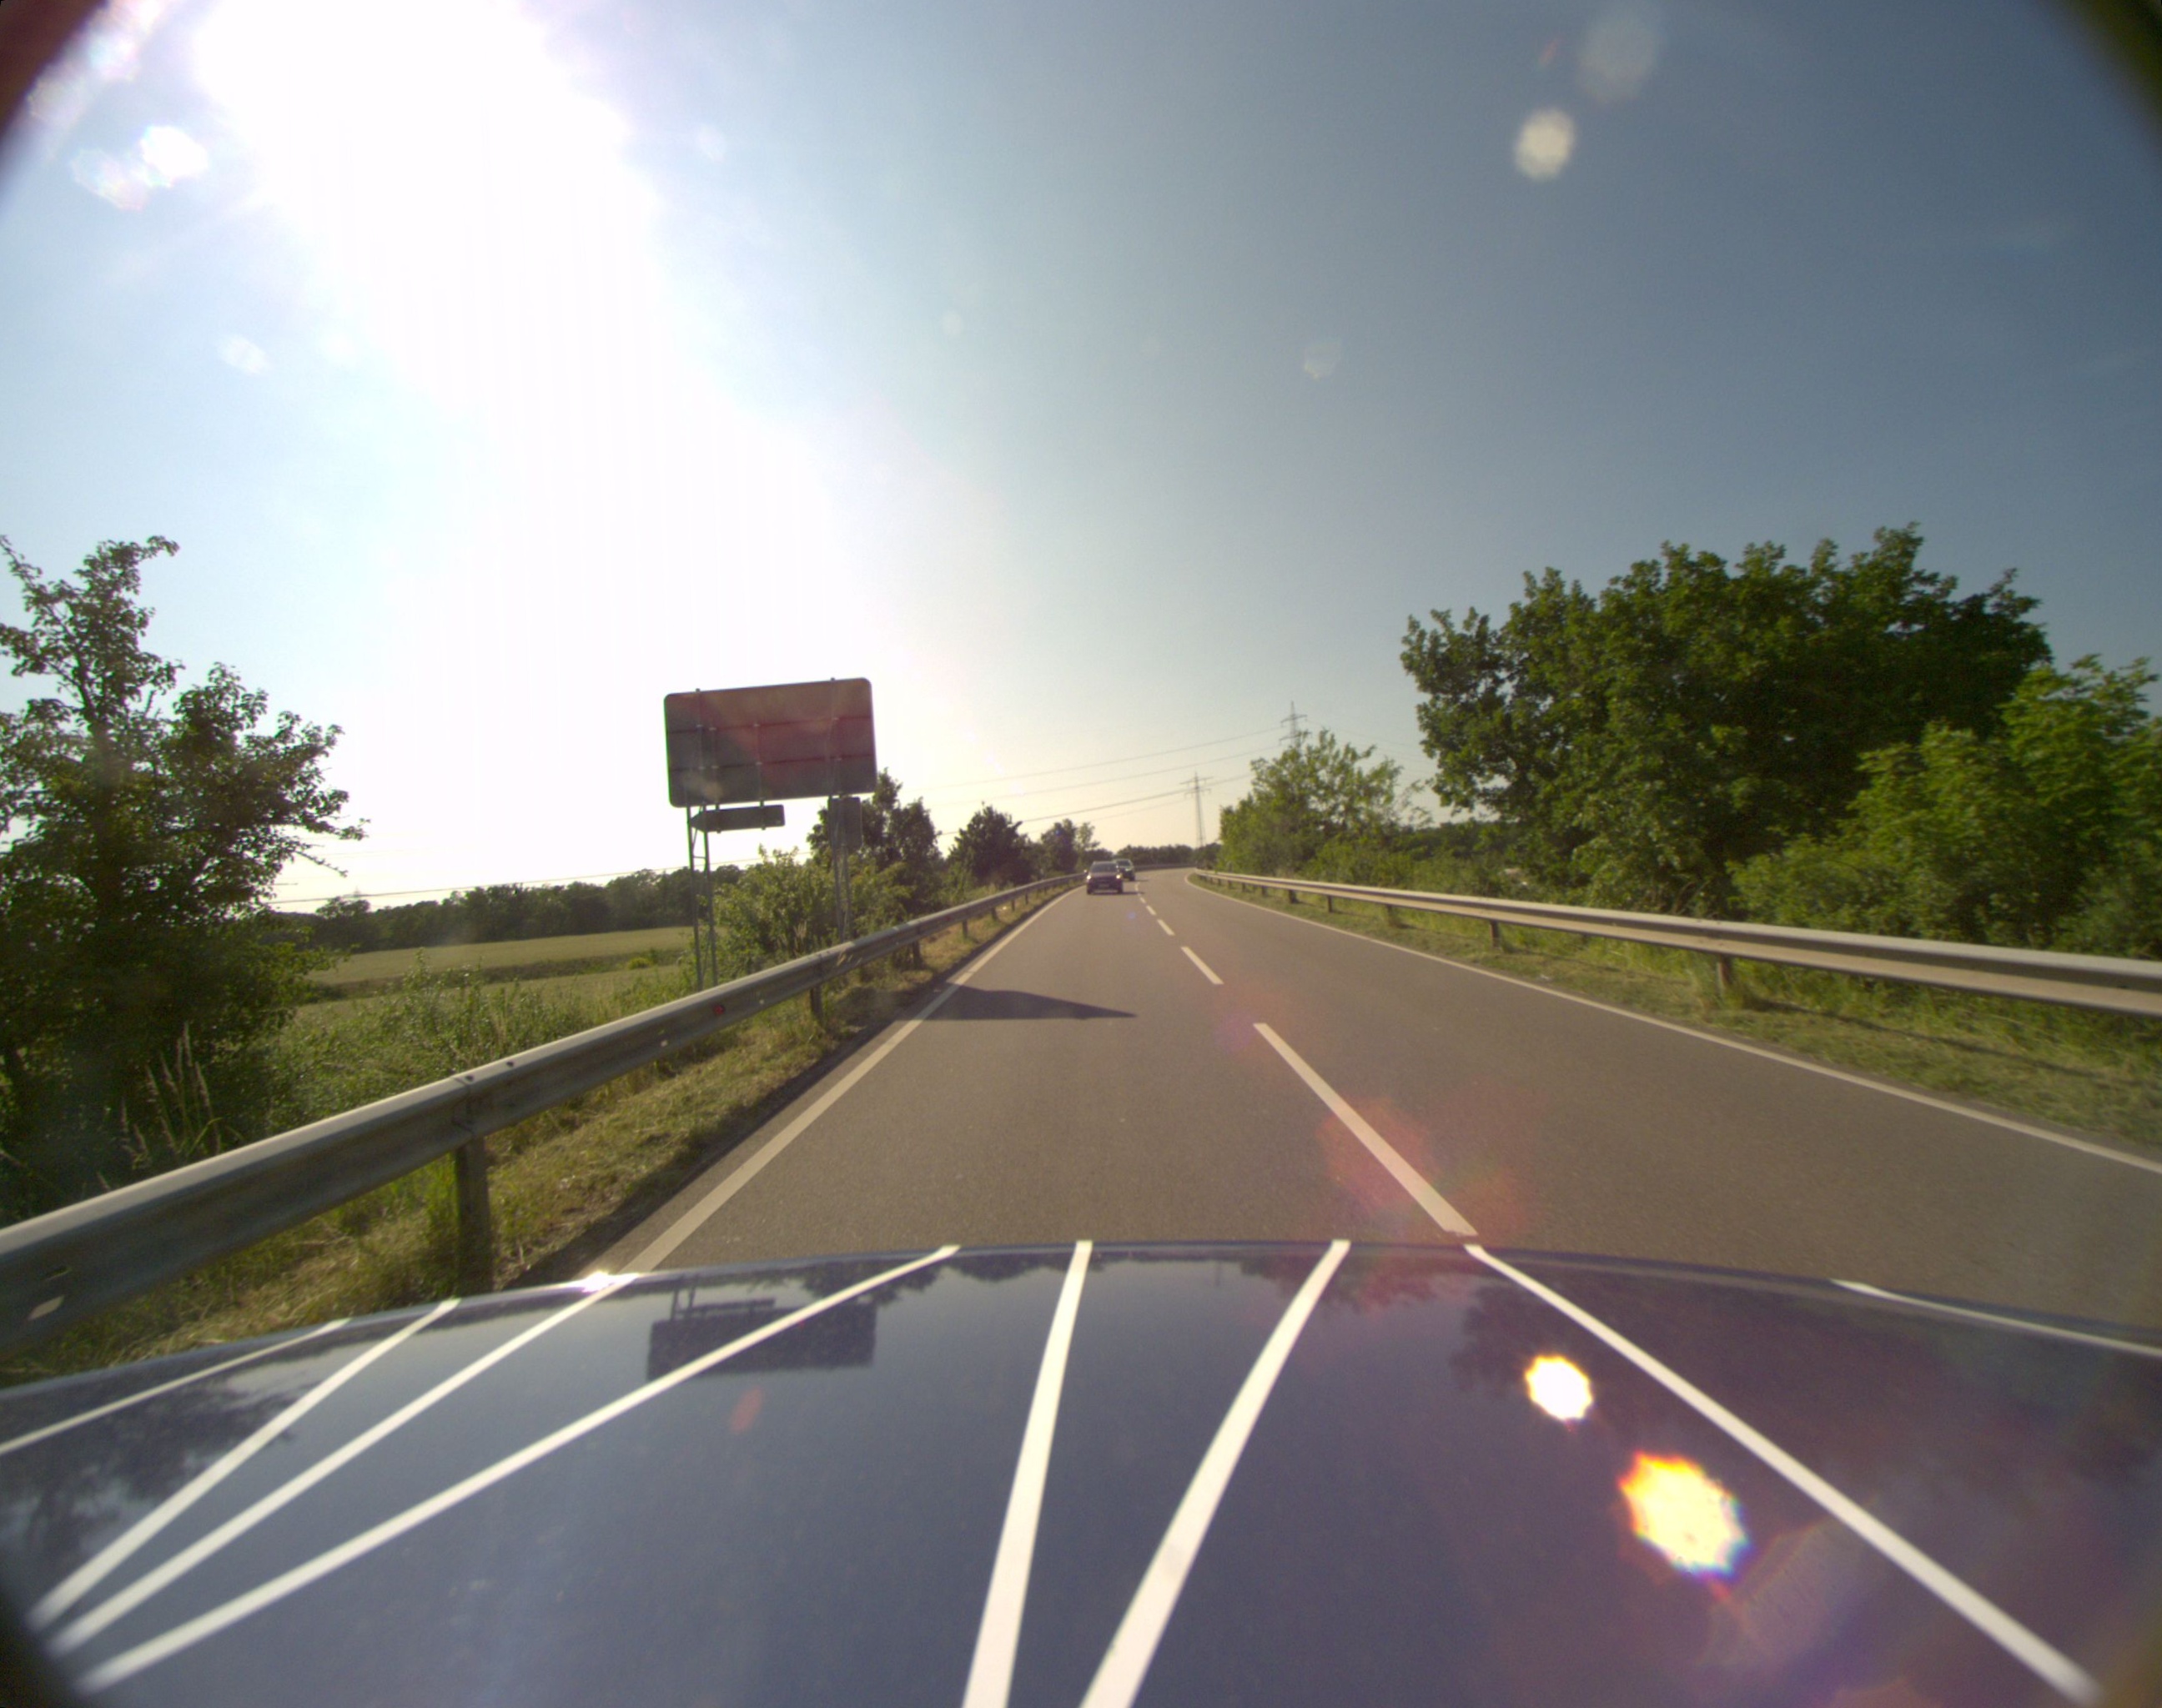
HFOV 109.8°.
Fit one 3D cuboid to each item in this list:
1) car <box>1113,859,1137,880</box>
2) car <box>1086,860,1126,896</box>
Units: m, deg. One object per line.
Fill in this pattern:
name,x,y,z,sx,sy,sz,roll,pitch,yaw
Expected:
car,3.354,1.153,57.791,1.606,1.486,4.001,-3,0,5
car,1.229,1.108,36.097,1.606,1.486,4.001,-3,0,5
